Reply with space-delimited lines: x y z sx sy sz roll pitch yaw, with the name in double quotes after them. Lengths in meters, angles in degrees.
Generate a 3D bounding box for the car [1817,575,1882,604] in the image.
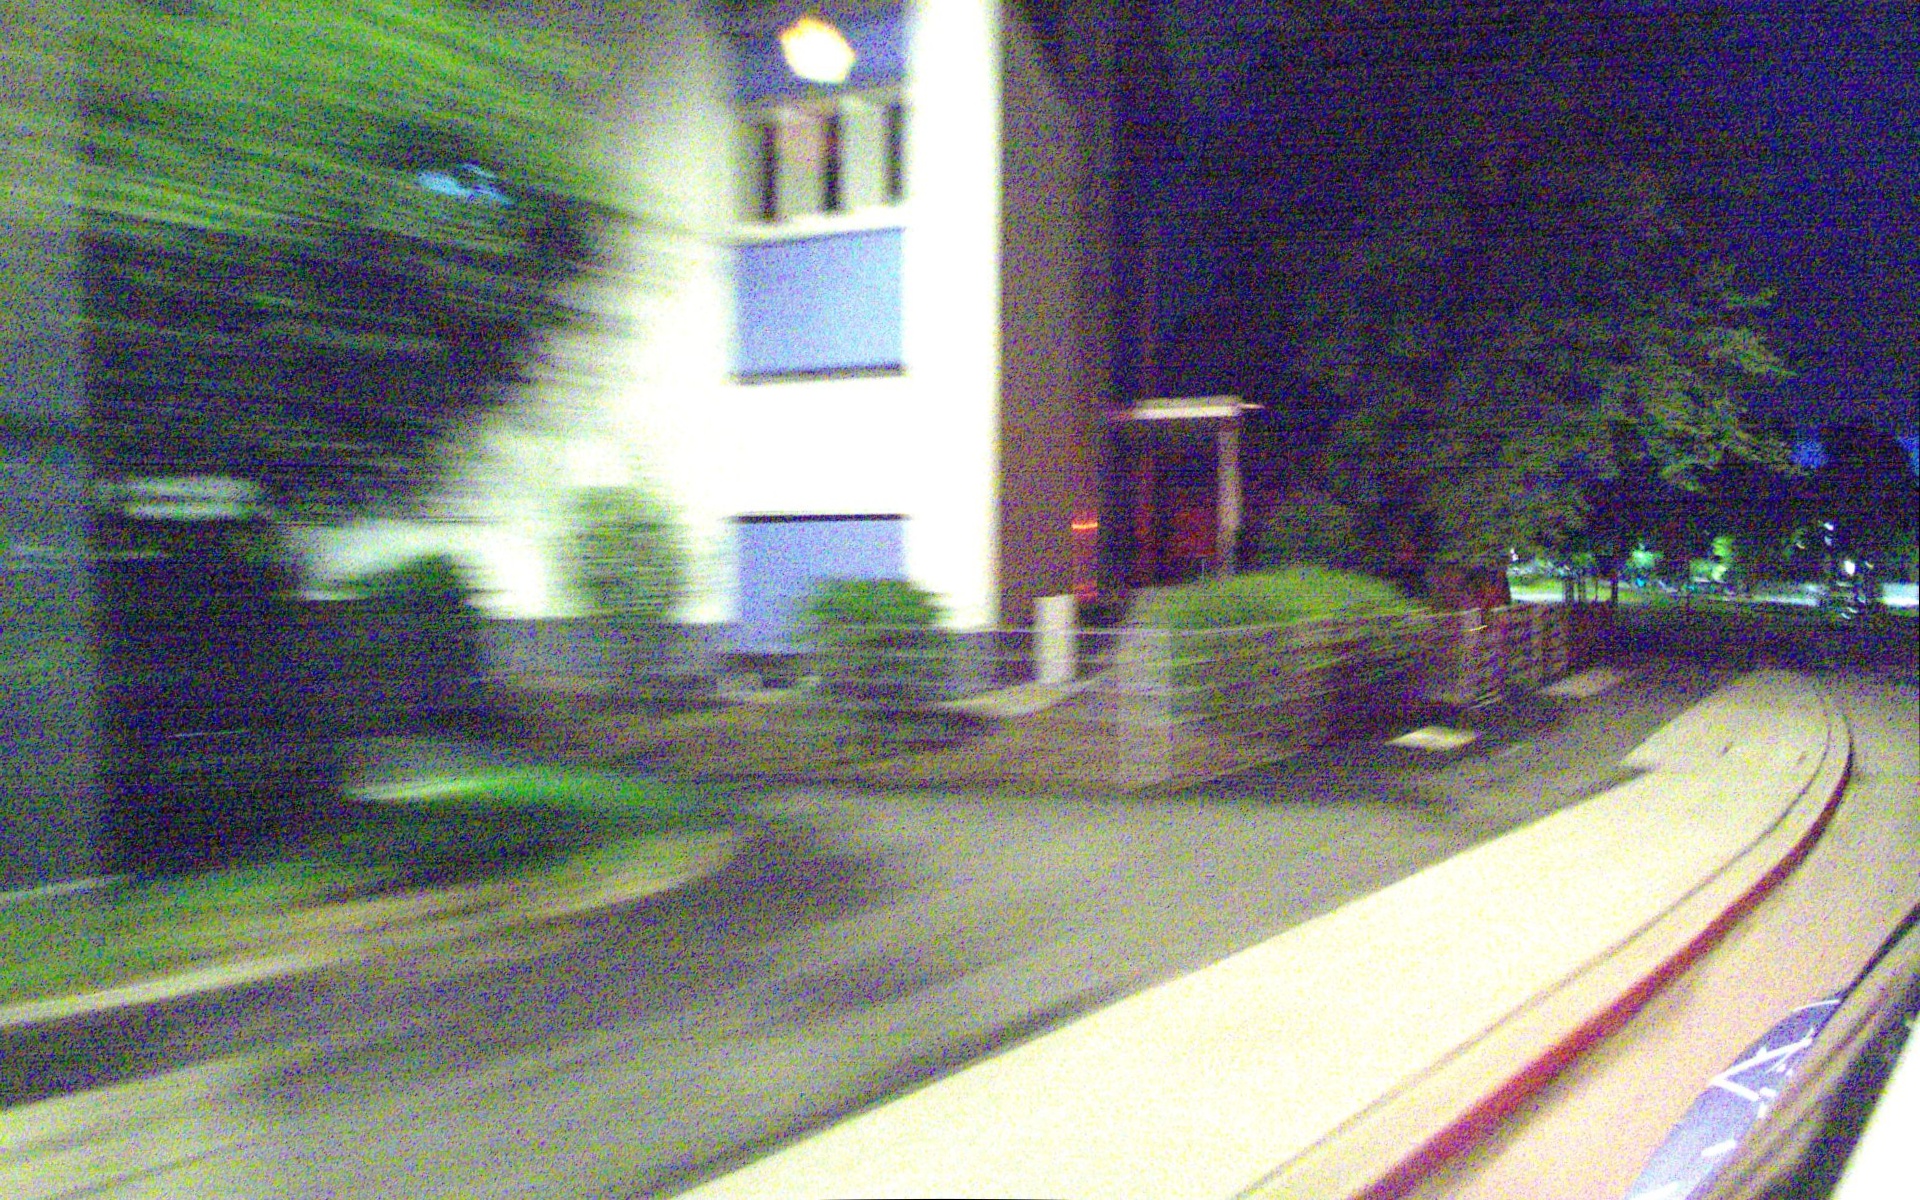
56.784 -0.727 64.673 1.704 1.595 4.501 5 4 23 "car"

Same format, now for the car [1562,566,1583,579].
94.297 -4.303 155.788 2.105 1.792 4.682 4 4 25 "car"

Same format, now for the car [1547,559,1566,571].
98.723 -5.844 167.550 2.105 1.792 4.682 4 4 25 "car"

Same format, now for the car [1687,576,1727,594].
68.875 -1.380 93.352 1.887 1.381 4.943 4 4 25 "car"

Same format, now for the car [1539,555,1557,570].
104.515 -6.627 179.950 2.145 2.542 4.681 4 4 25 "car"

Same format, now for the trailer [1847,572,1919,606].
54.932 -0.687 59.882 2.009 1.802 5.629 3 3 24 "trailer"

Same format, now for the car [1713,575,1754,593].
66.707 -1.391 87.345 1.715 1.381 4.116 4 4 23 "car"

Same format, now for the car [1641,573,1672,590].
76.251 -2.025 110.866 1.750 1.586 4.658 5 4 22 "car"
